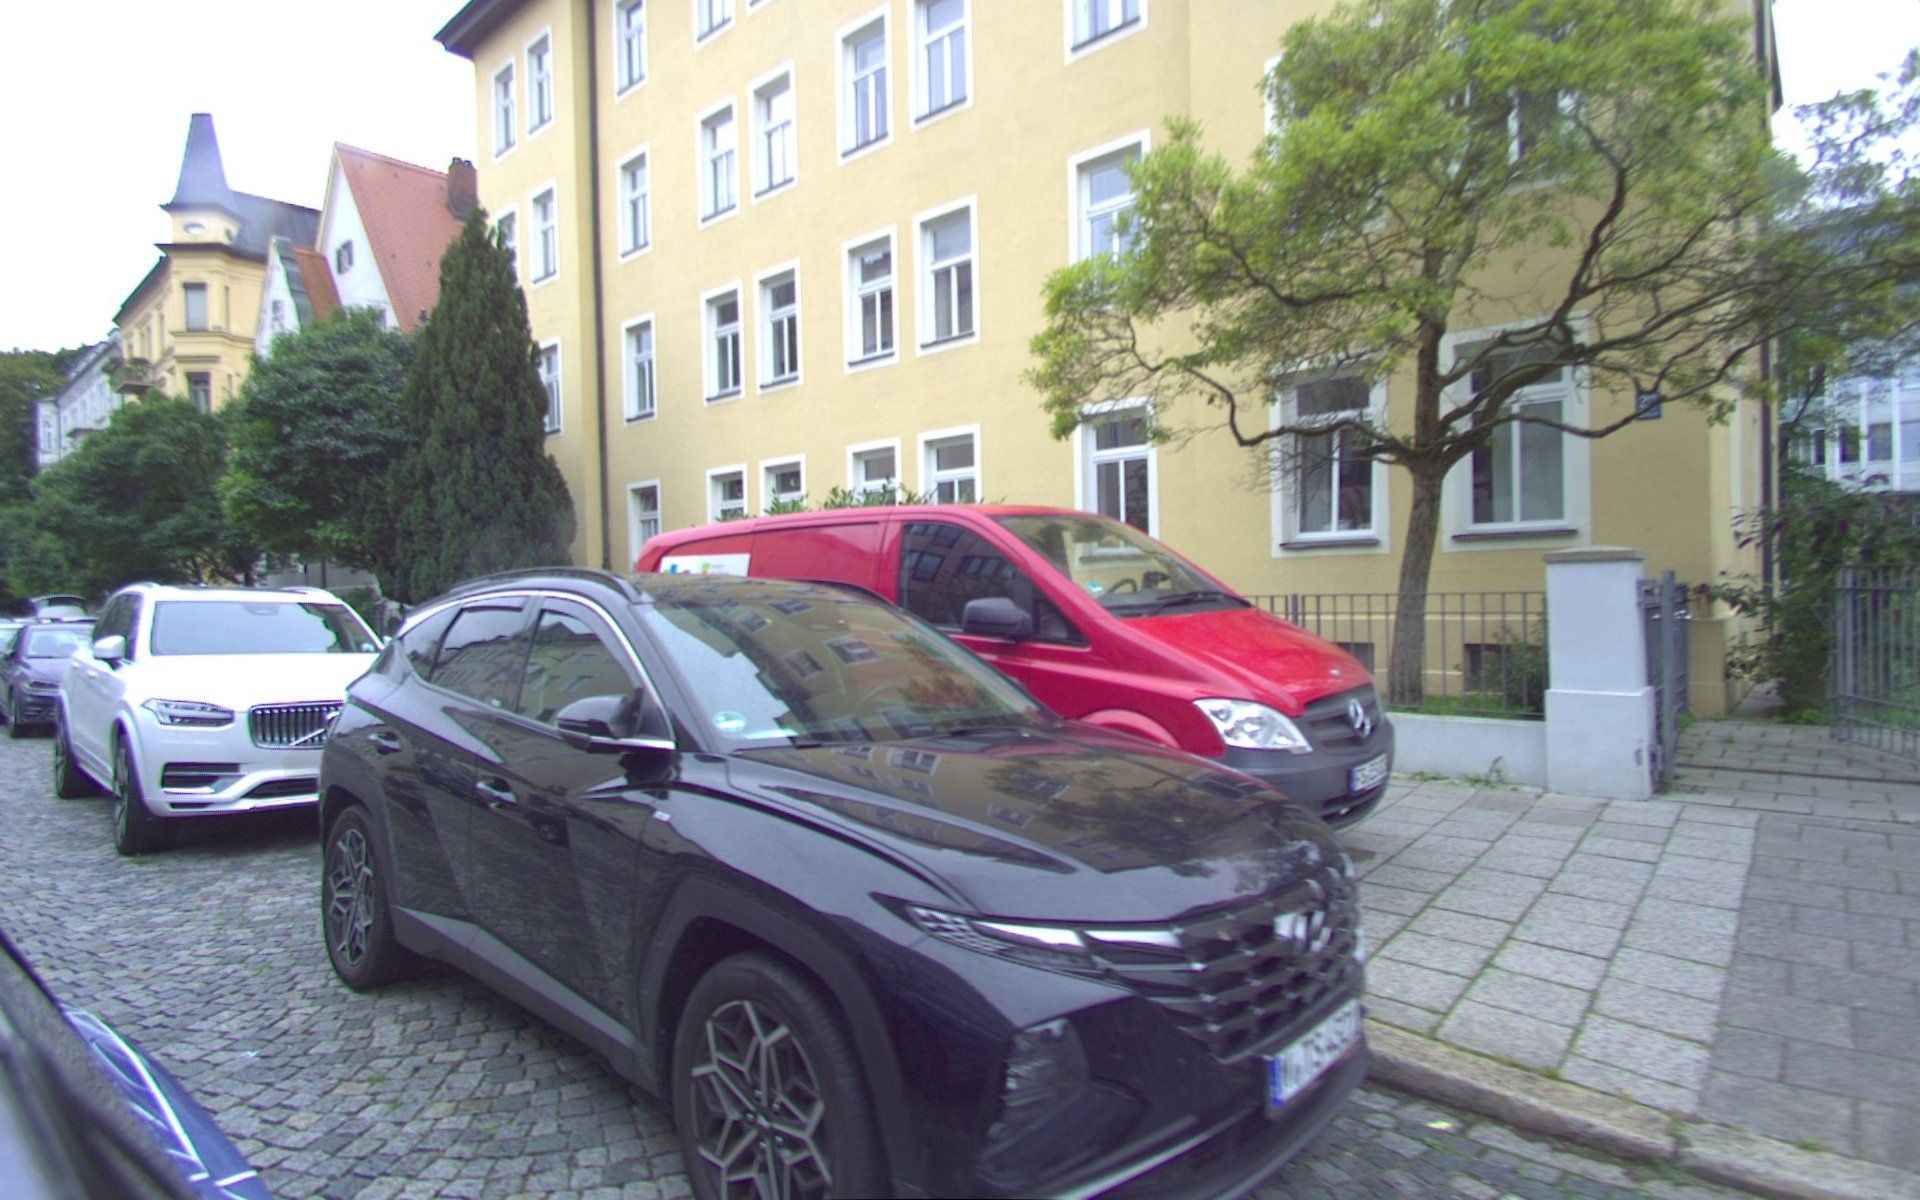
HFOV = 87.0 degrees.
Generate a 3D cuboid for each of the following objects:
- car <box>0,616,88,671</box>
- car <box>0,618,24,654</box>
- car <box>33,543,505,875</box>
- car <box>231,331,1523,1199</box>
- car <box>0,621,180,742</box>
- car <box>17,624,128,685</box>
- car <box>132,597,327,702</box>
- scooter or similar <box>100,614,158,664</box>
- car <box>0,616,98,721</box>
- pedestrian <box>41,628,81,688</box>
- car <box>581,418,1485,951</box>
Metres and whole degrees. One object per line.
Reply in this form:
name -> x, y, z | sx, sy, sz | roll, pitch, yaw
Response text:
car -> -29.682, 1.351, 32.599 | 4.464, 1.547, 1.722 | -1, 2, 41
car -> -41.924, 1.564, 43.646 | 4.388, 1.477, 1.822 | -1, 1, 42
car -> -5.731, 0.654, 8.056 | 5.174, 1.822, 1.984 | -1, -1, 43
car -> -0.853, 0.593, 3.663 | 4.754, 1.748, 1.896 | -2, -4, 42
car -> -12.235, 1.013, 13.888 | 3.935, 1.429, 1.711 | -2, -2, 42
car -> -24.399, 1.435, 27.764 | 4.560, 1.427, 1.757 | -2, 2, 43
car -> -12.845, 0.803, 17.673 | 4.719, 1.508, 1.697 | -2, 2, 42
scooter or similar -> -27.183, 1.271, 33.093 | 2.634, 1.534, 1.051 | -2, 0, 42
car -> -15.826, 1.073, 16.803 | 4.388, 1.574, 1.696 | -2, -2, 42
pedestrian -> -26.071, 1.665, 29.354 | 0.582, 1.662, 0.757 | -2, 1, 43
car -> 0.017, 0.320, 6.183 | 5.327, 1.945, 1.974 | -2, 2, 41
